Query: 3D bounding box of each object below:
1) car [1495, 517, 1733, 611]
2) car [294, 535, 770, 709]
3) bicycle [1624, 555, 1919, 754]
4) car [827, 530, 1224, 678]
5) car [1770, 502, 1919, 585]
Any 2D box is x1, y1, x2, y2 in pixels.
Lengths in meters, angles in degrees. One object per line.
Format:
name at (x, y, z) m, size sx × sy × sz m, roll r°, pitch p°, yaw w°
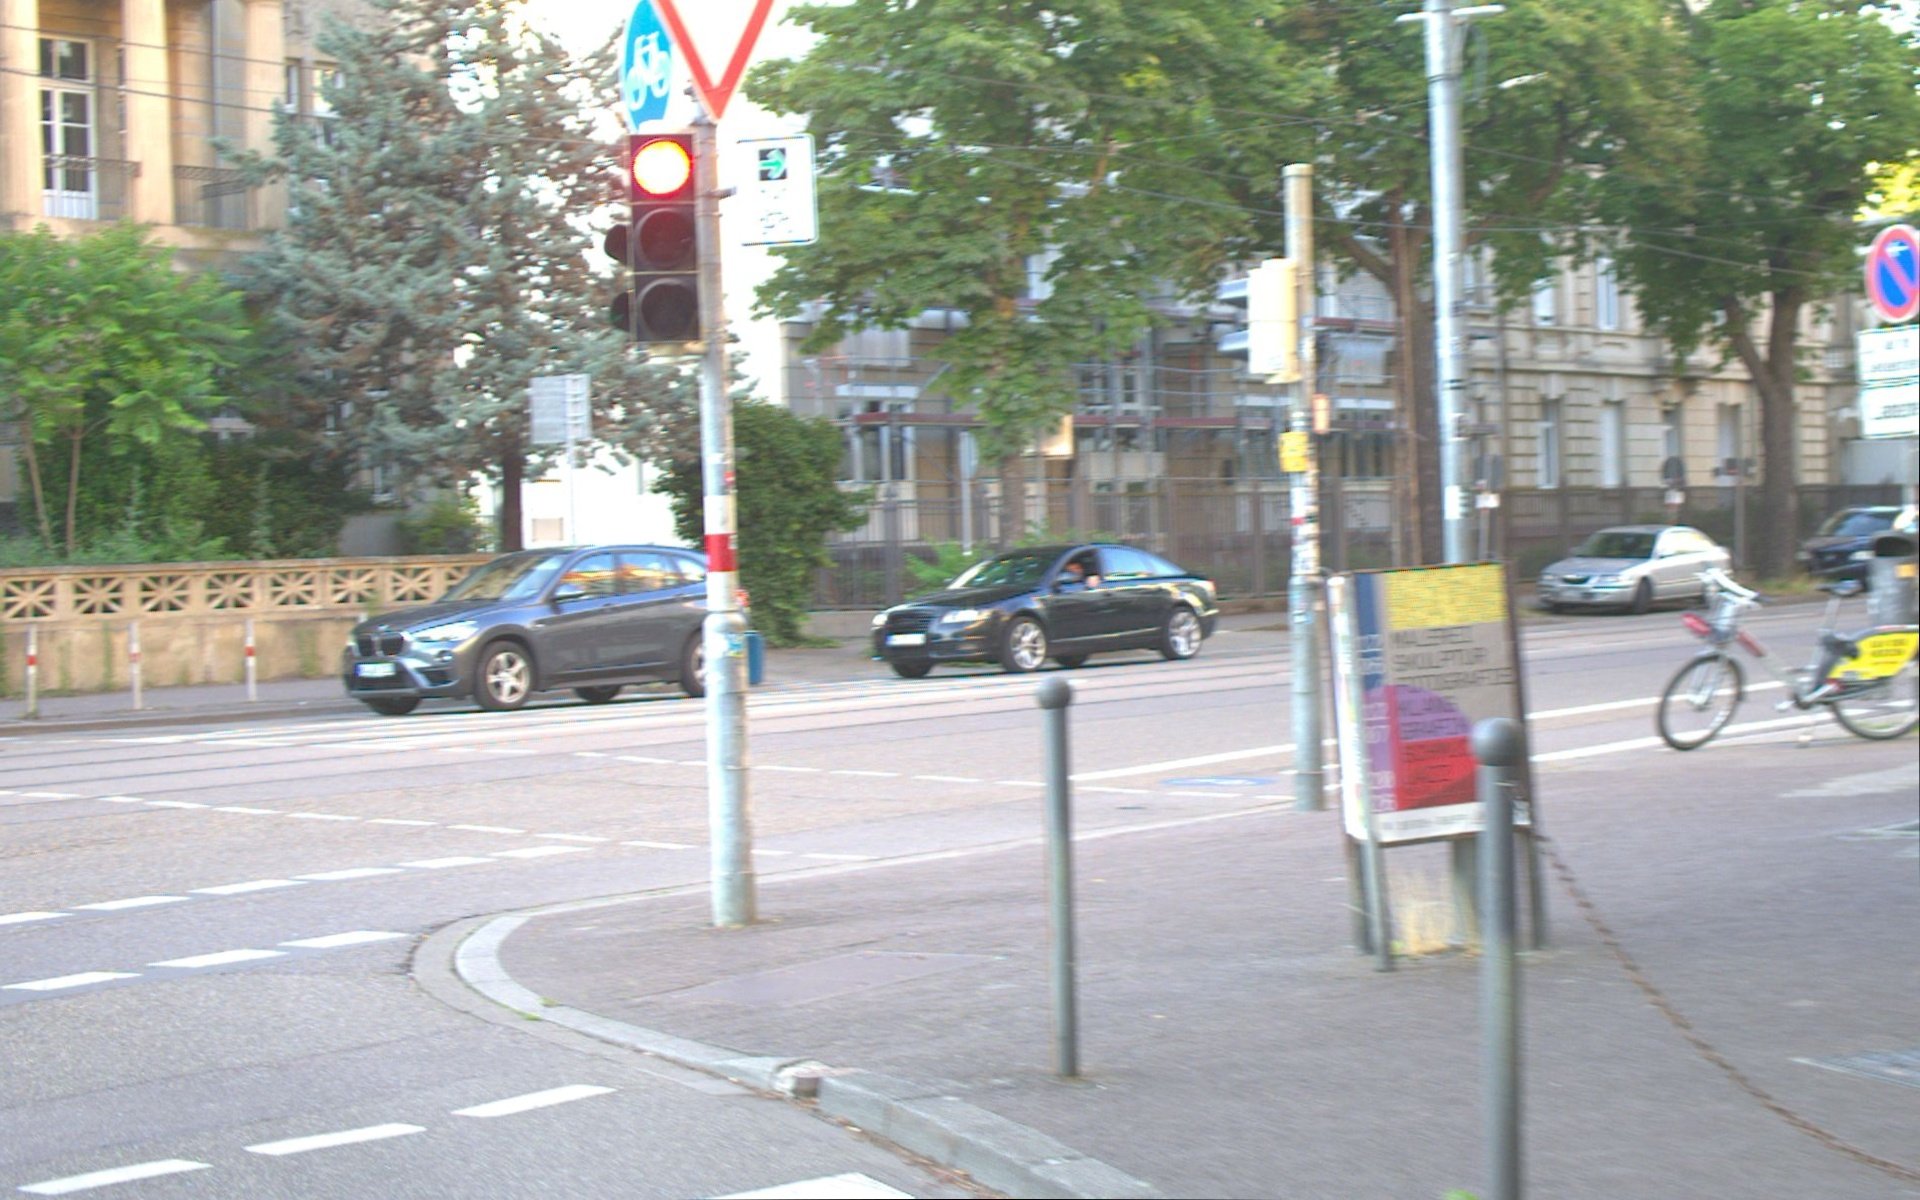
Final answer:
car at (10.998, -0.622, 57.547) m, size 2.008 × 1.422 × 4.622 m, roll -1°, pitch 1°, yaw 38°
car at (-4.135, 0.181, 33.758) m, size 1.949 × 1.504 × 4.409 m, roll -1°, pitch 1°, yaw 42°
bicycle at (5.016, 0.317, 20.736) m, size 1.872 × 1.126 × 0.731 m, roll -2°, pitch 1°, yaw 3°
car at (0.809, 0.012, 39.227) m, size 1.949 × 1.504 × 4.621 m, roll -1°, pitch 1°, yaw 42°
car at (17.370, -1.095, 65.592) m, size 1.949 × 1.477 × 4.158 m, roll -1°, pitch 1°, yaw 42°
